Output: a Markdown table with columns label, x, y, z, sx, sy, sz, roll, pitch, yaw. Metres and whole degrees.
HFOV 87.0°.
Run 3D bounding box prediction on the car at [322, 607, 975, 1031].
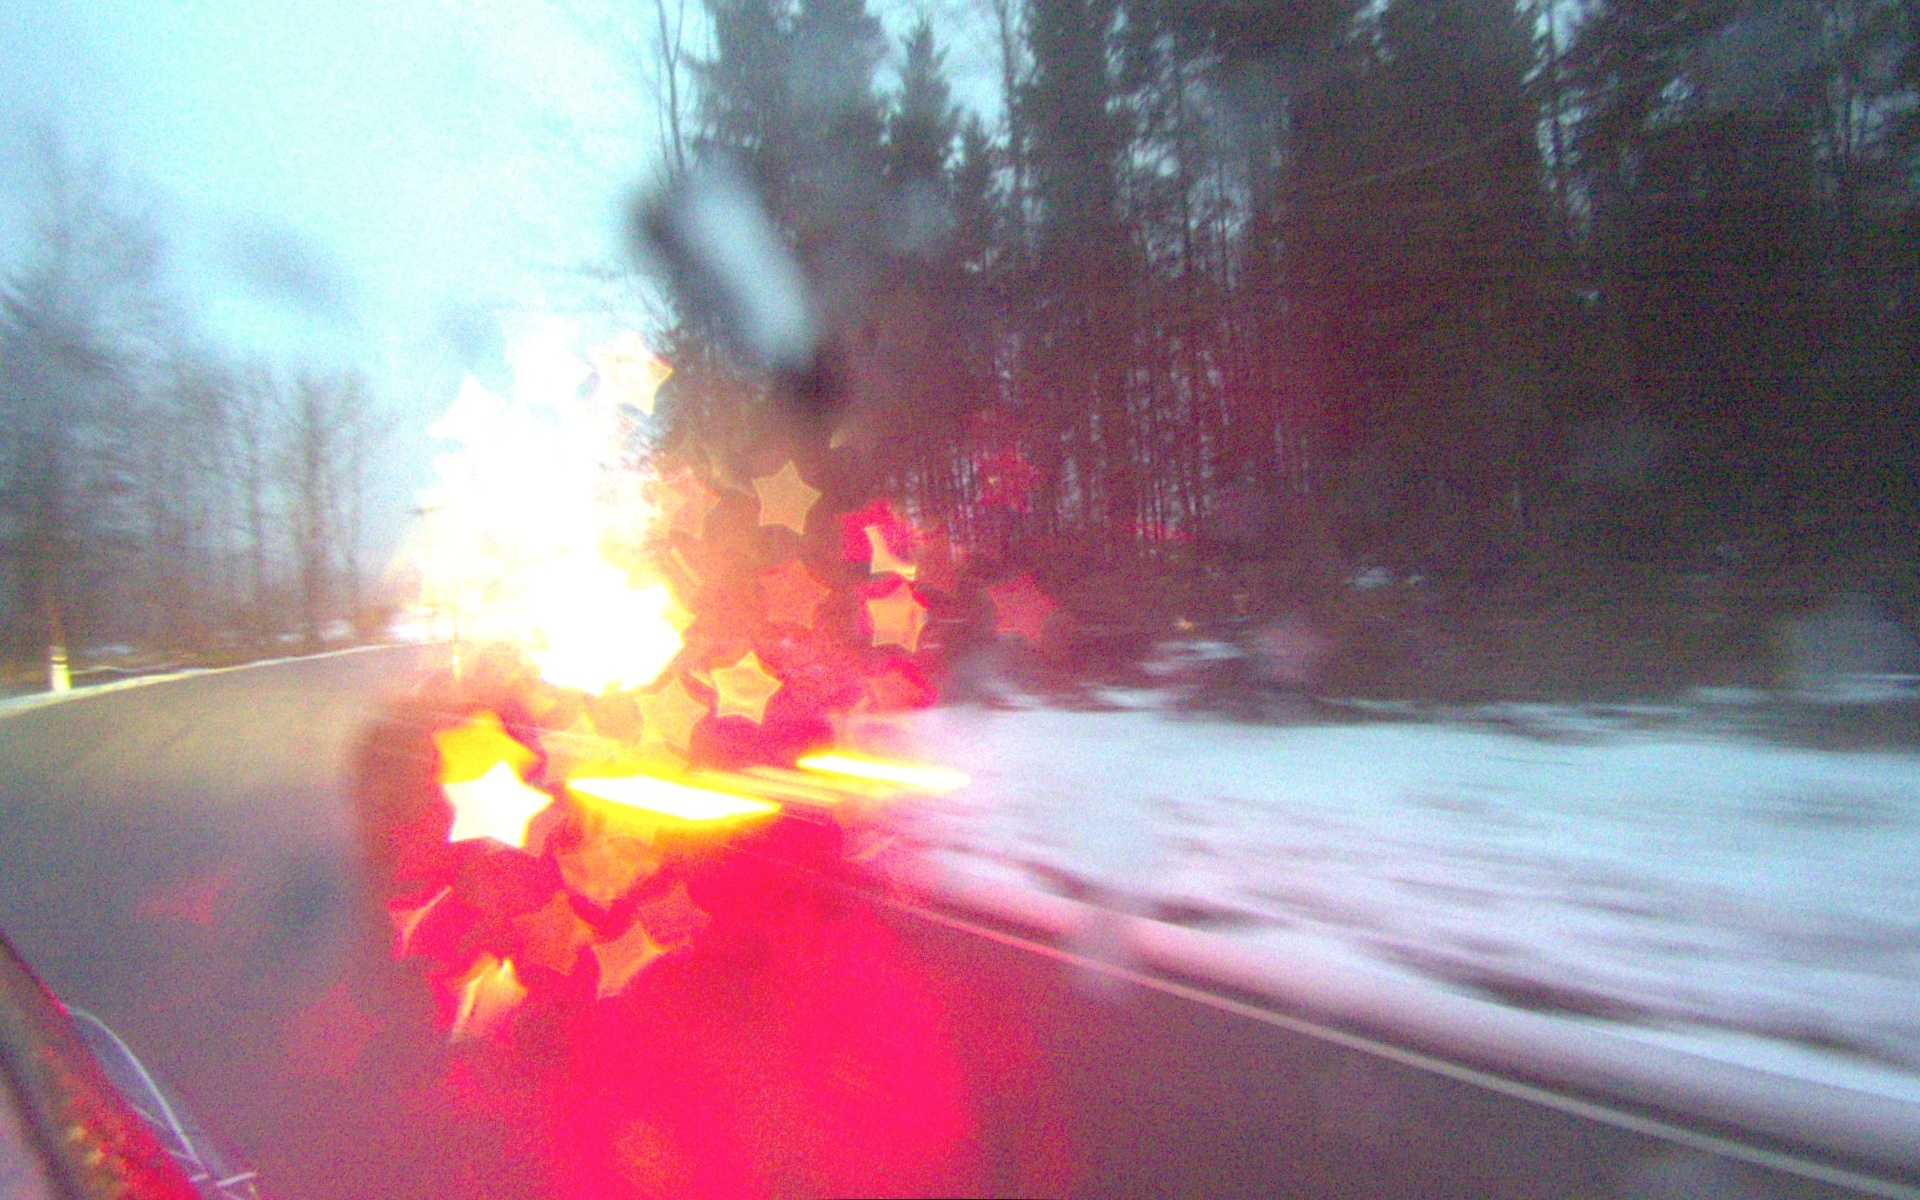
| label | x | y | z | sx | sy | sz | roll | pitch | yaw |
| --- | --- | --- | --- | --- | --- | --- | --- | --- | --- |
| car | -2.129 | 0.861 | 5.874 | 1.753 | 1.504 | 4.552 | 2 | -3 | -44 |

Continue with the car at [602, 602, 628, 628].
| label | x | y | z | sx | sy | sz | roll | pitch | yaw |
| --- | --- | --- | --- | --- | --- | --- | --- | --- | --- |
| car | -32.258 | 1.377 | 94.808 | 1.967 | 2.028 | 4.012 | -6 | 3 | -17 |
